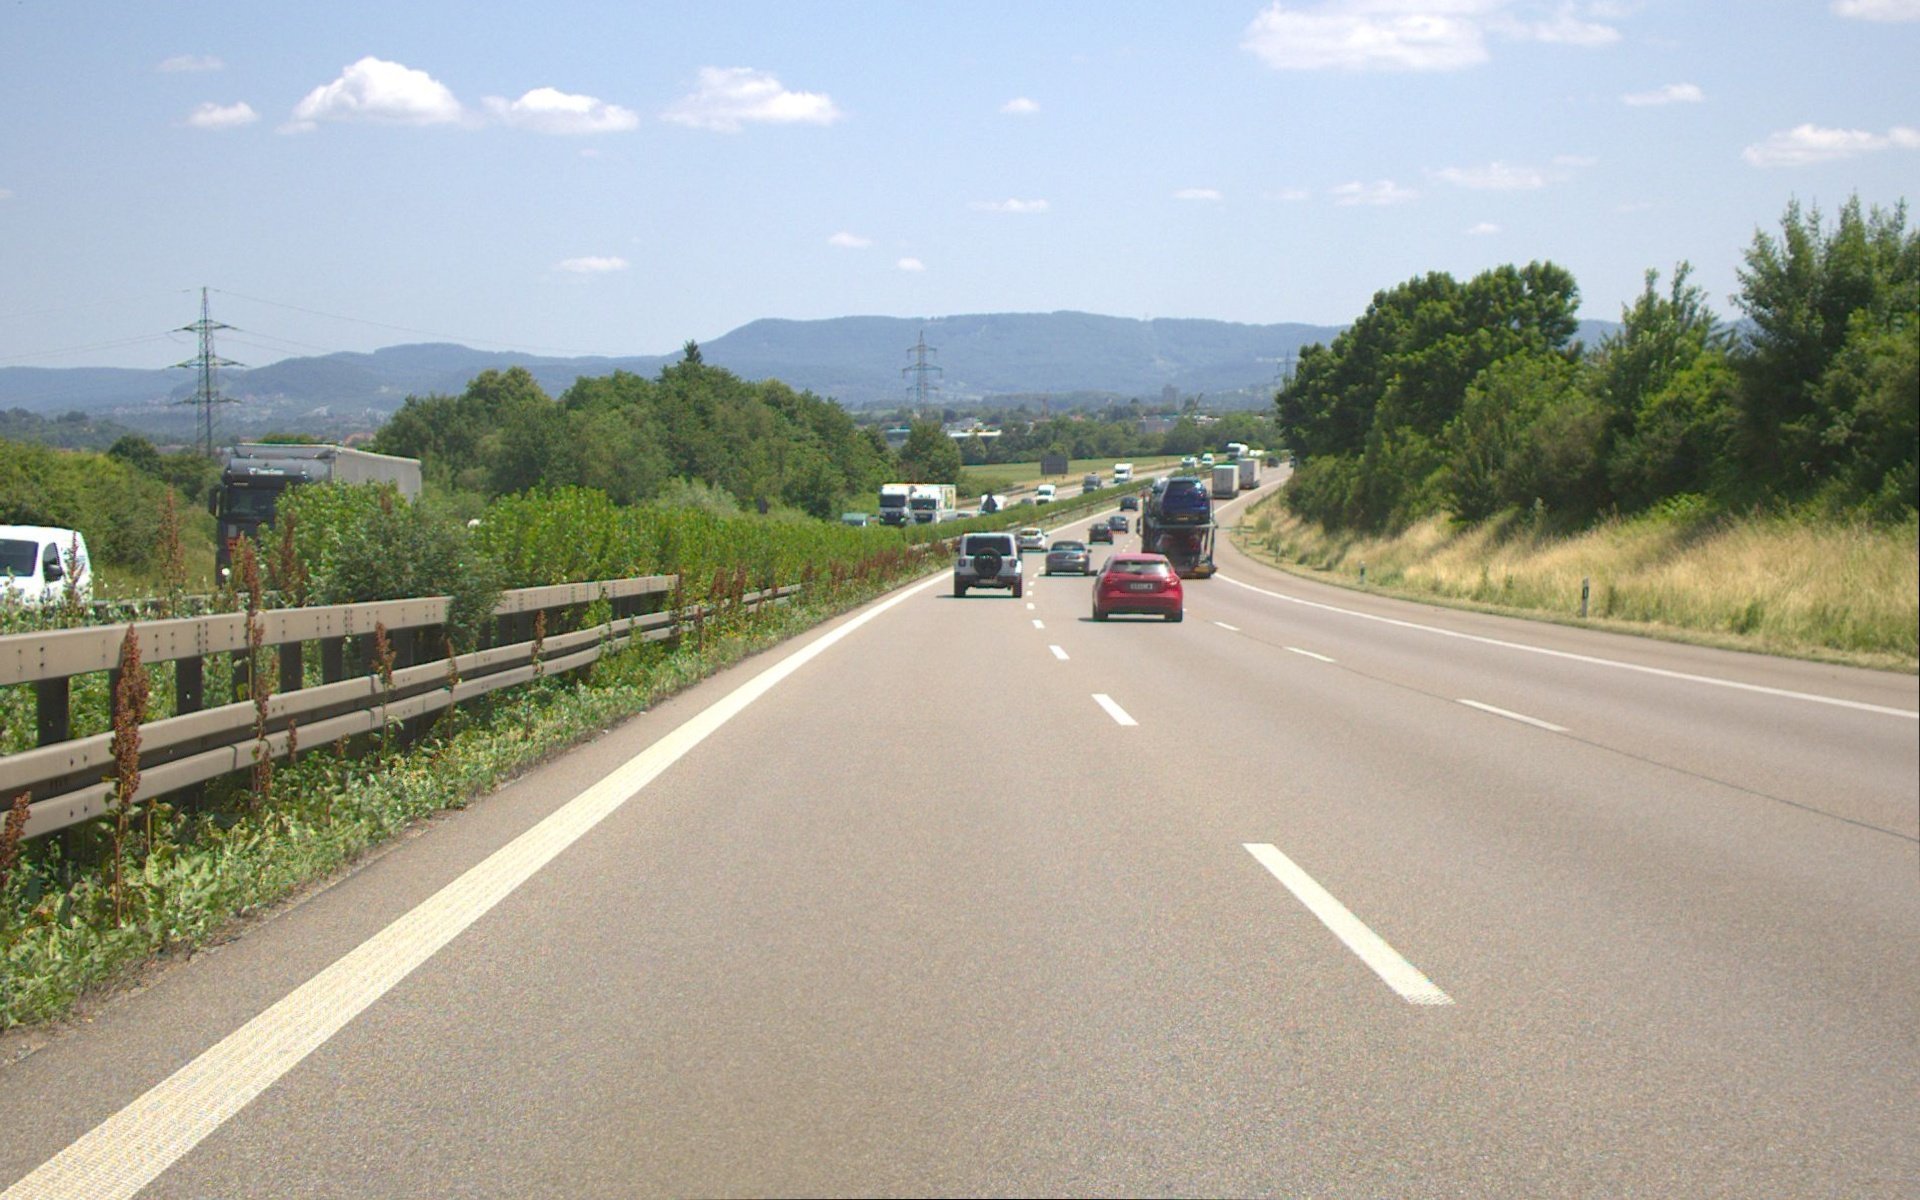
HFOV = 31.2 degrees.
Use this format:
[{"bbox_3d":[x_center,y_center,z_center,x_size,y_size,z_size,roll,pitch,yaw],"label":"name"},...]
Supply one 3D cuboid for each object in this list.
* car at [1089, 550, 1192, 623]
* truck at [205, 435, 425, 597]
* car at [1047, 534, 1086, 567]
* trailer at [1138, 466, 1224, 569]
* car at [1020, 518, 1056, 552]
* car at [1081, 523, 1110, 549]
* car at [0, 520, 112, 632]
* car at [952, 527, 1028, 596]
[{"bbox_3d":[3.786,-0.306,72.608,1.685,1.374,3.949,1,2,-4],"label":"car"},{"bbox_3d":[-17.357,-2.252,93.959,2.975,4.000,16.829,1,1,0],"label":"truck"},{"bbox_3d":[4.330,-2.043,140.531,1.452,1.263,3.539,1,2,0],"label":"car"},{"bbox_3d":[9.028,-3.522,142.023,2.855,3.979,15.397,1,2,1],"label":"trailer"},{"bbox_3d":[4.721,-3.915,206.566,1.698,2.006,3.821,1,2,8],"label":"car"},{"bbox_3d":[9.282,-4.412,235.101,1.636,1.699,3.400,1,2,8],"label":"car"},{"bbox_3d":[-13.382,-0.358,48.819,1.499,1.508,4.869,1,1,0],"label":"car"},{"bbox_3d":[0.837,-1.123,98.839,2.083,1.823,4.754,1,2,-1],"label":"car"}]
